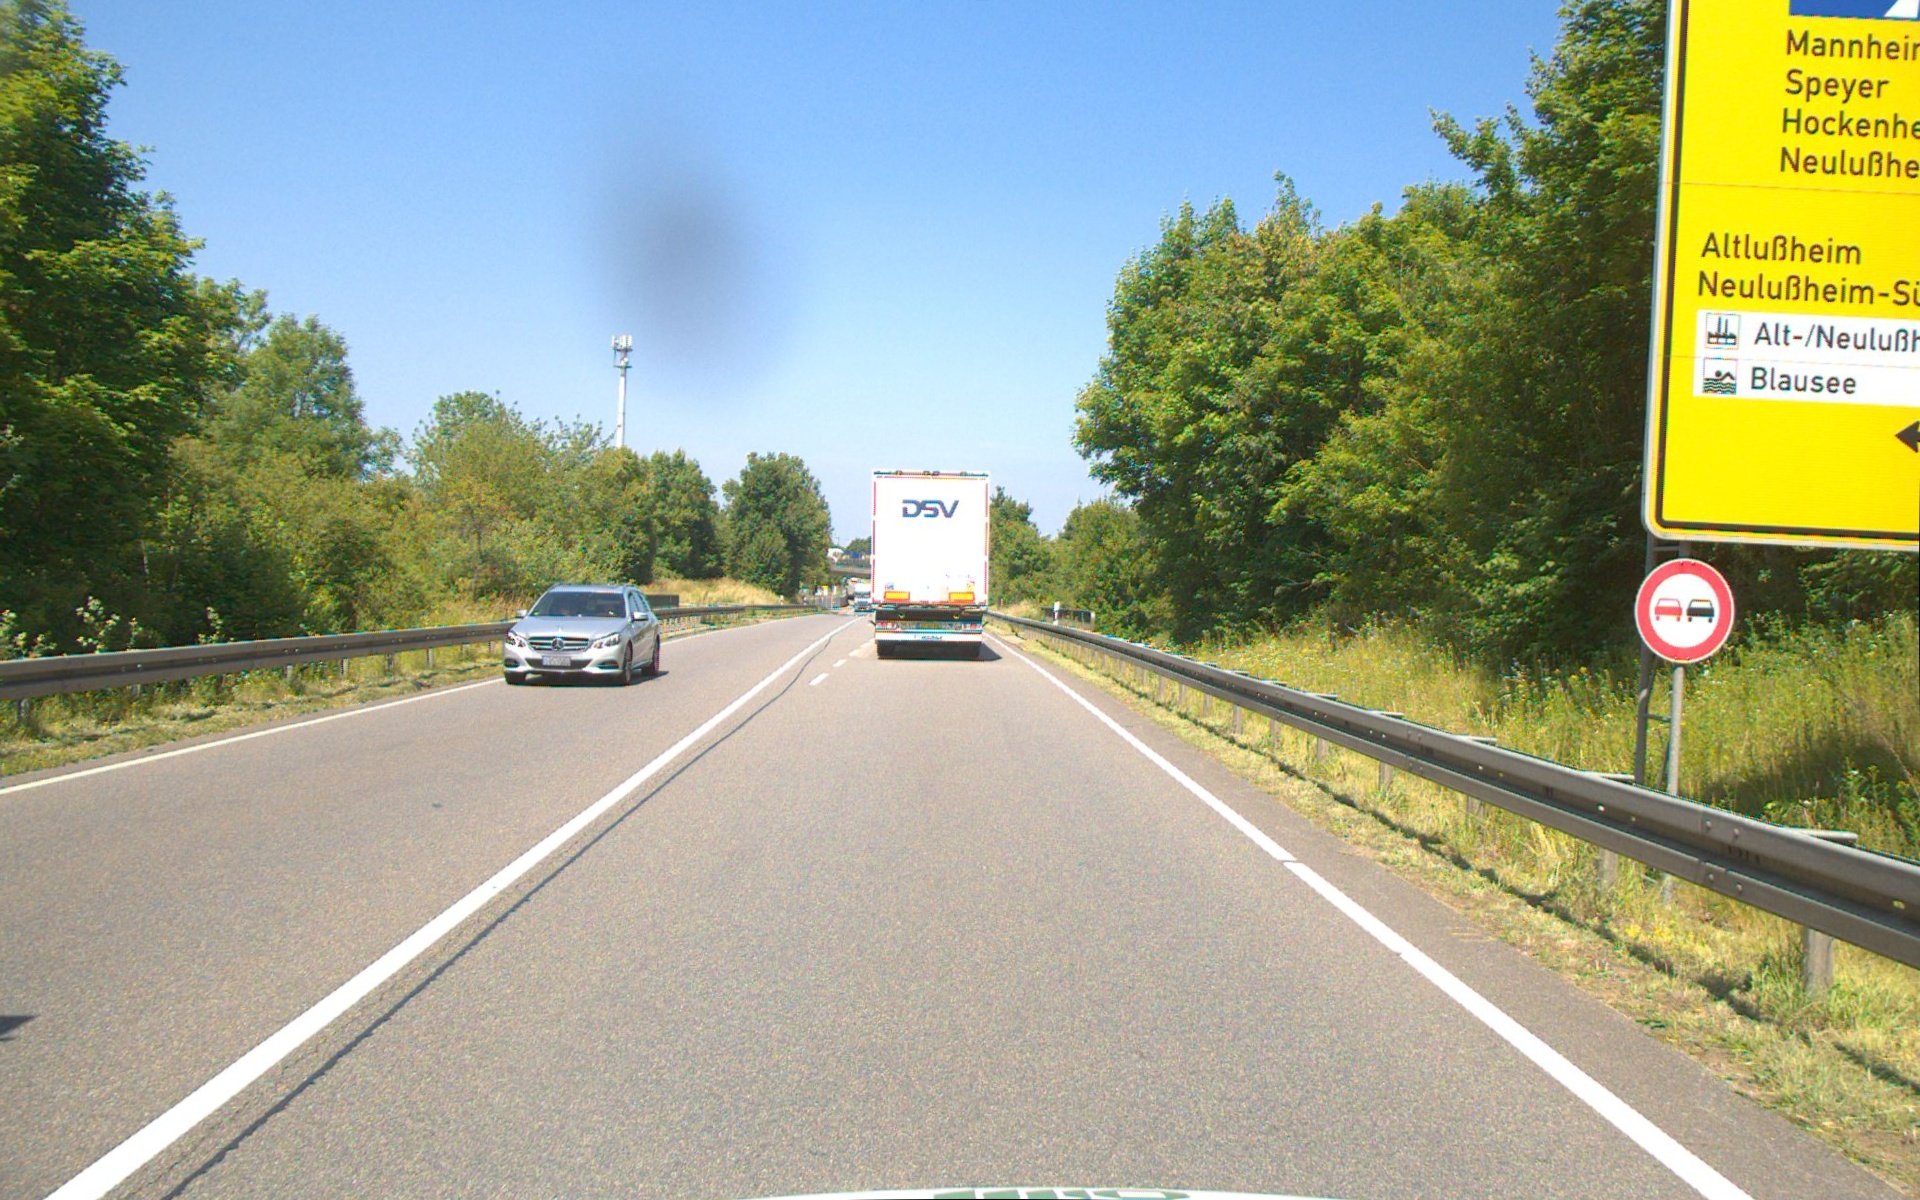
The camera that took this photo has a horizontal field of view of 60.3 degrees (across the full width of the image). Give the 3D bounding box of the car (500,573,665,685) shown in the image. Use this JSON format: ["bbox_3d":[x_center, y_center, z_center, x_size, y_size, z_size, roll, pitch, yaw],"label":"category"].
[{"bbox_3d":[-5.807,0.406,25.962,1.782,1.573,4.524,1,0,-3],"label":"car"}]

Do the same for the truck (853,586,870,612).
[{"bbox_3d":[-15.127,-0.168,254.446,2.306,3.815,12.619,1,0,-2],"label":"truck"}]

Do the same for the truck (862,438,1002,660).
[{"bbox_3d":[-0.678,-1.050,39.921,2.890,4.648,9.860,1,0,-1],"label":"truck"}]
